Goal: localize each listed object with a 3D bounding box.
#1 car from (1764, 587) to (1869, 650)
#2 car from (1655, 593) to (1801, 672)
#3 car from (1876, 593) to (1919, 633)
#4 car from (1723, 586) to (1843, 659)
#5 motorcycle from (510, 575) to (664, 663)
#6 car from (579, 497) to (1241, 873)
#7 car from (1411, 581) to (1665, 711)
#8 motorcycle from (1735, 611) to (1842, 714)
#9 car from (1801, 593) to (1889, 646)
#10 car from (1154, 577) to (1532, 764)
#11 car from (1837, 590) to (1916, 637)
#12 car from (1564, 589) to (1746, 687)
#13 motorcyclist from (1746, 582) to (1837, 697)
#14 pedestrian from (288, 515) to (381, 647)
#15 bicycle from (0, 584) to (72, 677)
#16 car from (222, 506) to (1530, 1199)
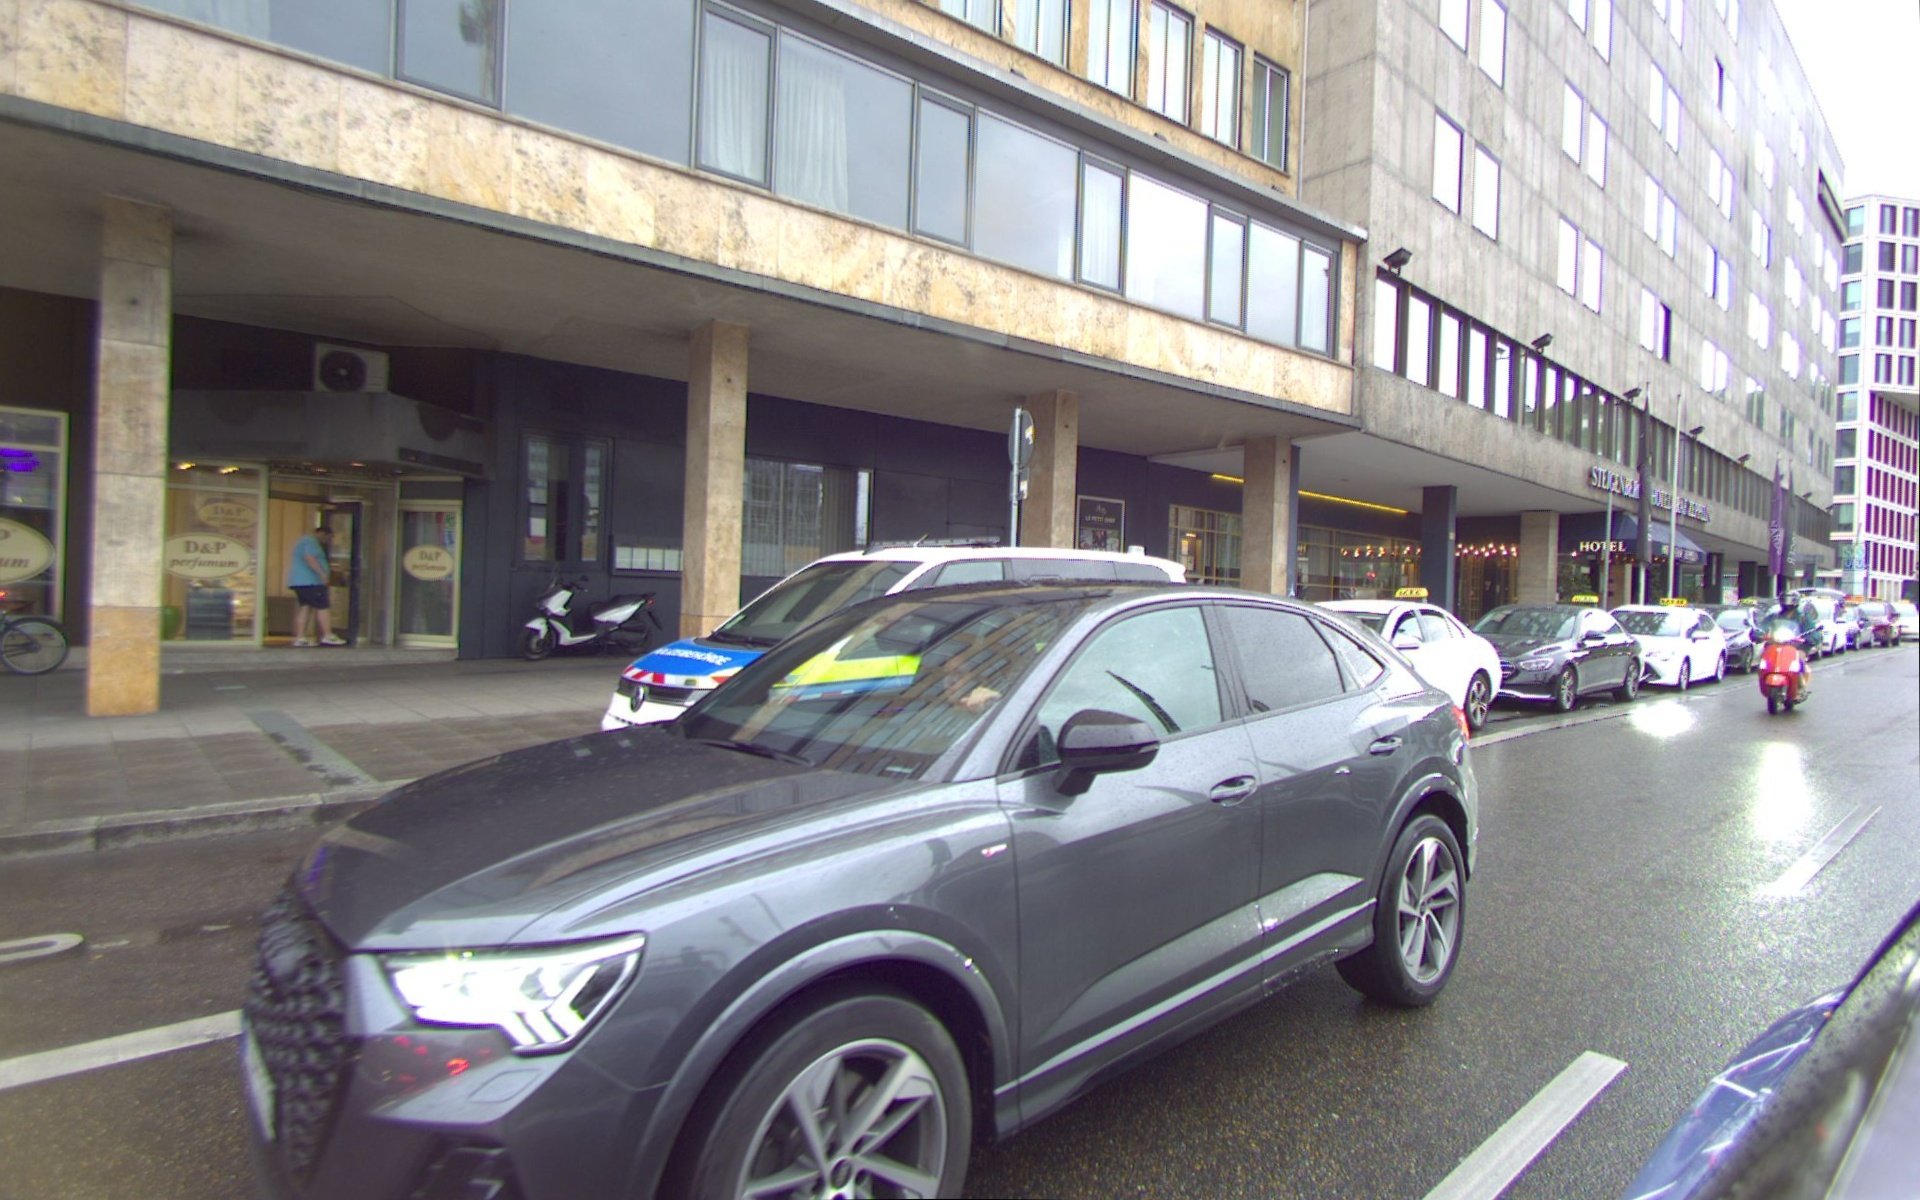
[{"bbox_3d":[25.702,0.492,30.313,4.731,1.764,1.729,0,0,-41],"label":"car"},{"bbox_3d":[17.398,0.648,22.833,4.731,1.612,1.729,0,0,-41],"label":"car"},{"bbox_3d":[41.210,0.530,43.935,3.932,1.634,1.729,0,0,-41],"label":"car"},{"bbox_3d":[21.918,0.529,26.881,4.731,1.764,1.729,0,0,-41],"label":"car"},{"bbox_3d":[-5.485,0.254,14.959,2.063,1.233,0.569,0,0,-33],"label":"motorcycle"},{"bbox_3d":[-0.084,0.421,7.562,4.850,1.944,1.877,0,0,-41],"label":"car"},{"bbox_3d":[8.760,0.564,15.146,4.731,1.658,1.877,0,0,-41],"label":"car"},{"bbox_3d":[11.651,0.827,14.214,1.931,1.323,0.848,0,0,-41],"label":"motorcycle"},{"bbox_3d":[29.710,0.606,33.950,3.932,1.634,1.729,0,0,-41],"label":"car"},{"bbox_3d":[4.457,0.605,11.321,4.924,1.658,1.877,0,0,-41],"label":"car"},{"bbox_3d":[33.672,0.469,37.149,3.932,1.634,1.729,0,0,-41],"label":"car"},{"bbox_3d":[13.142,0.611,19.021,4.731,1.612,1.729,0,0,-41],"label":"car"},{"bbox_3d":[11.713,0.528,14.264,0.829,1.547,0.860,0,0,-40],"label":"motorcyclist"},{"bbox_3d":[-8.984,-0.271,14.538,1.114,1.813,0.801,0,0,-33],"label":"pedestrian"},{"bbox_3d":[-11.643,0.350,11.411,2.428,1.059,0.657,0,0,-41],"label":"bicycle"},{"bbox_3d":[0.135,0.612,3.523,4.266,1.520,1.882,0,0,-40],"label":"car"}]
